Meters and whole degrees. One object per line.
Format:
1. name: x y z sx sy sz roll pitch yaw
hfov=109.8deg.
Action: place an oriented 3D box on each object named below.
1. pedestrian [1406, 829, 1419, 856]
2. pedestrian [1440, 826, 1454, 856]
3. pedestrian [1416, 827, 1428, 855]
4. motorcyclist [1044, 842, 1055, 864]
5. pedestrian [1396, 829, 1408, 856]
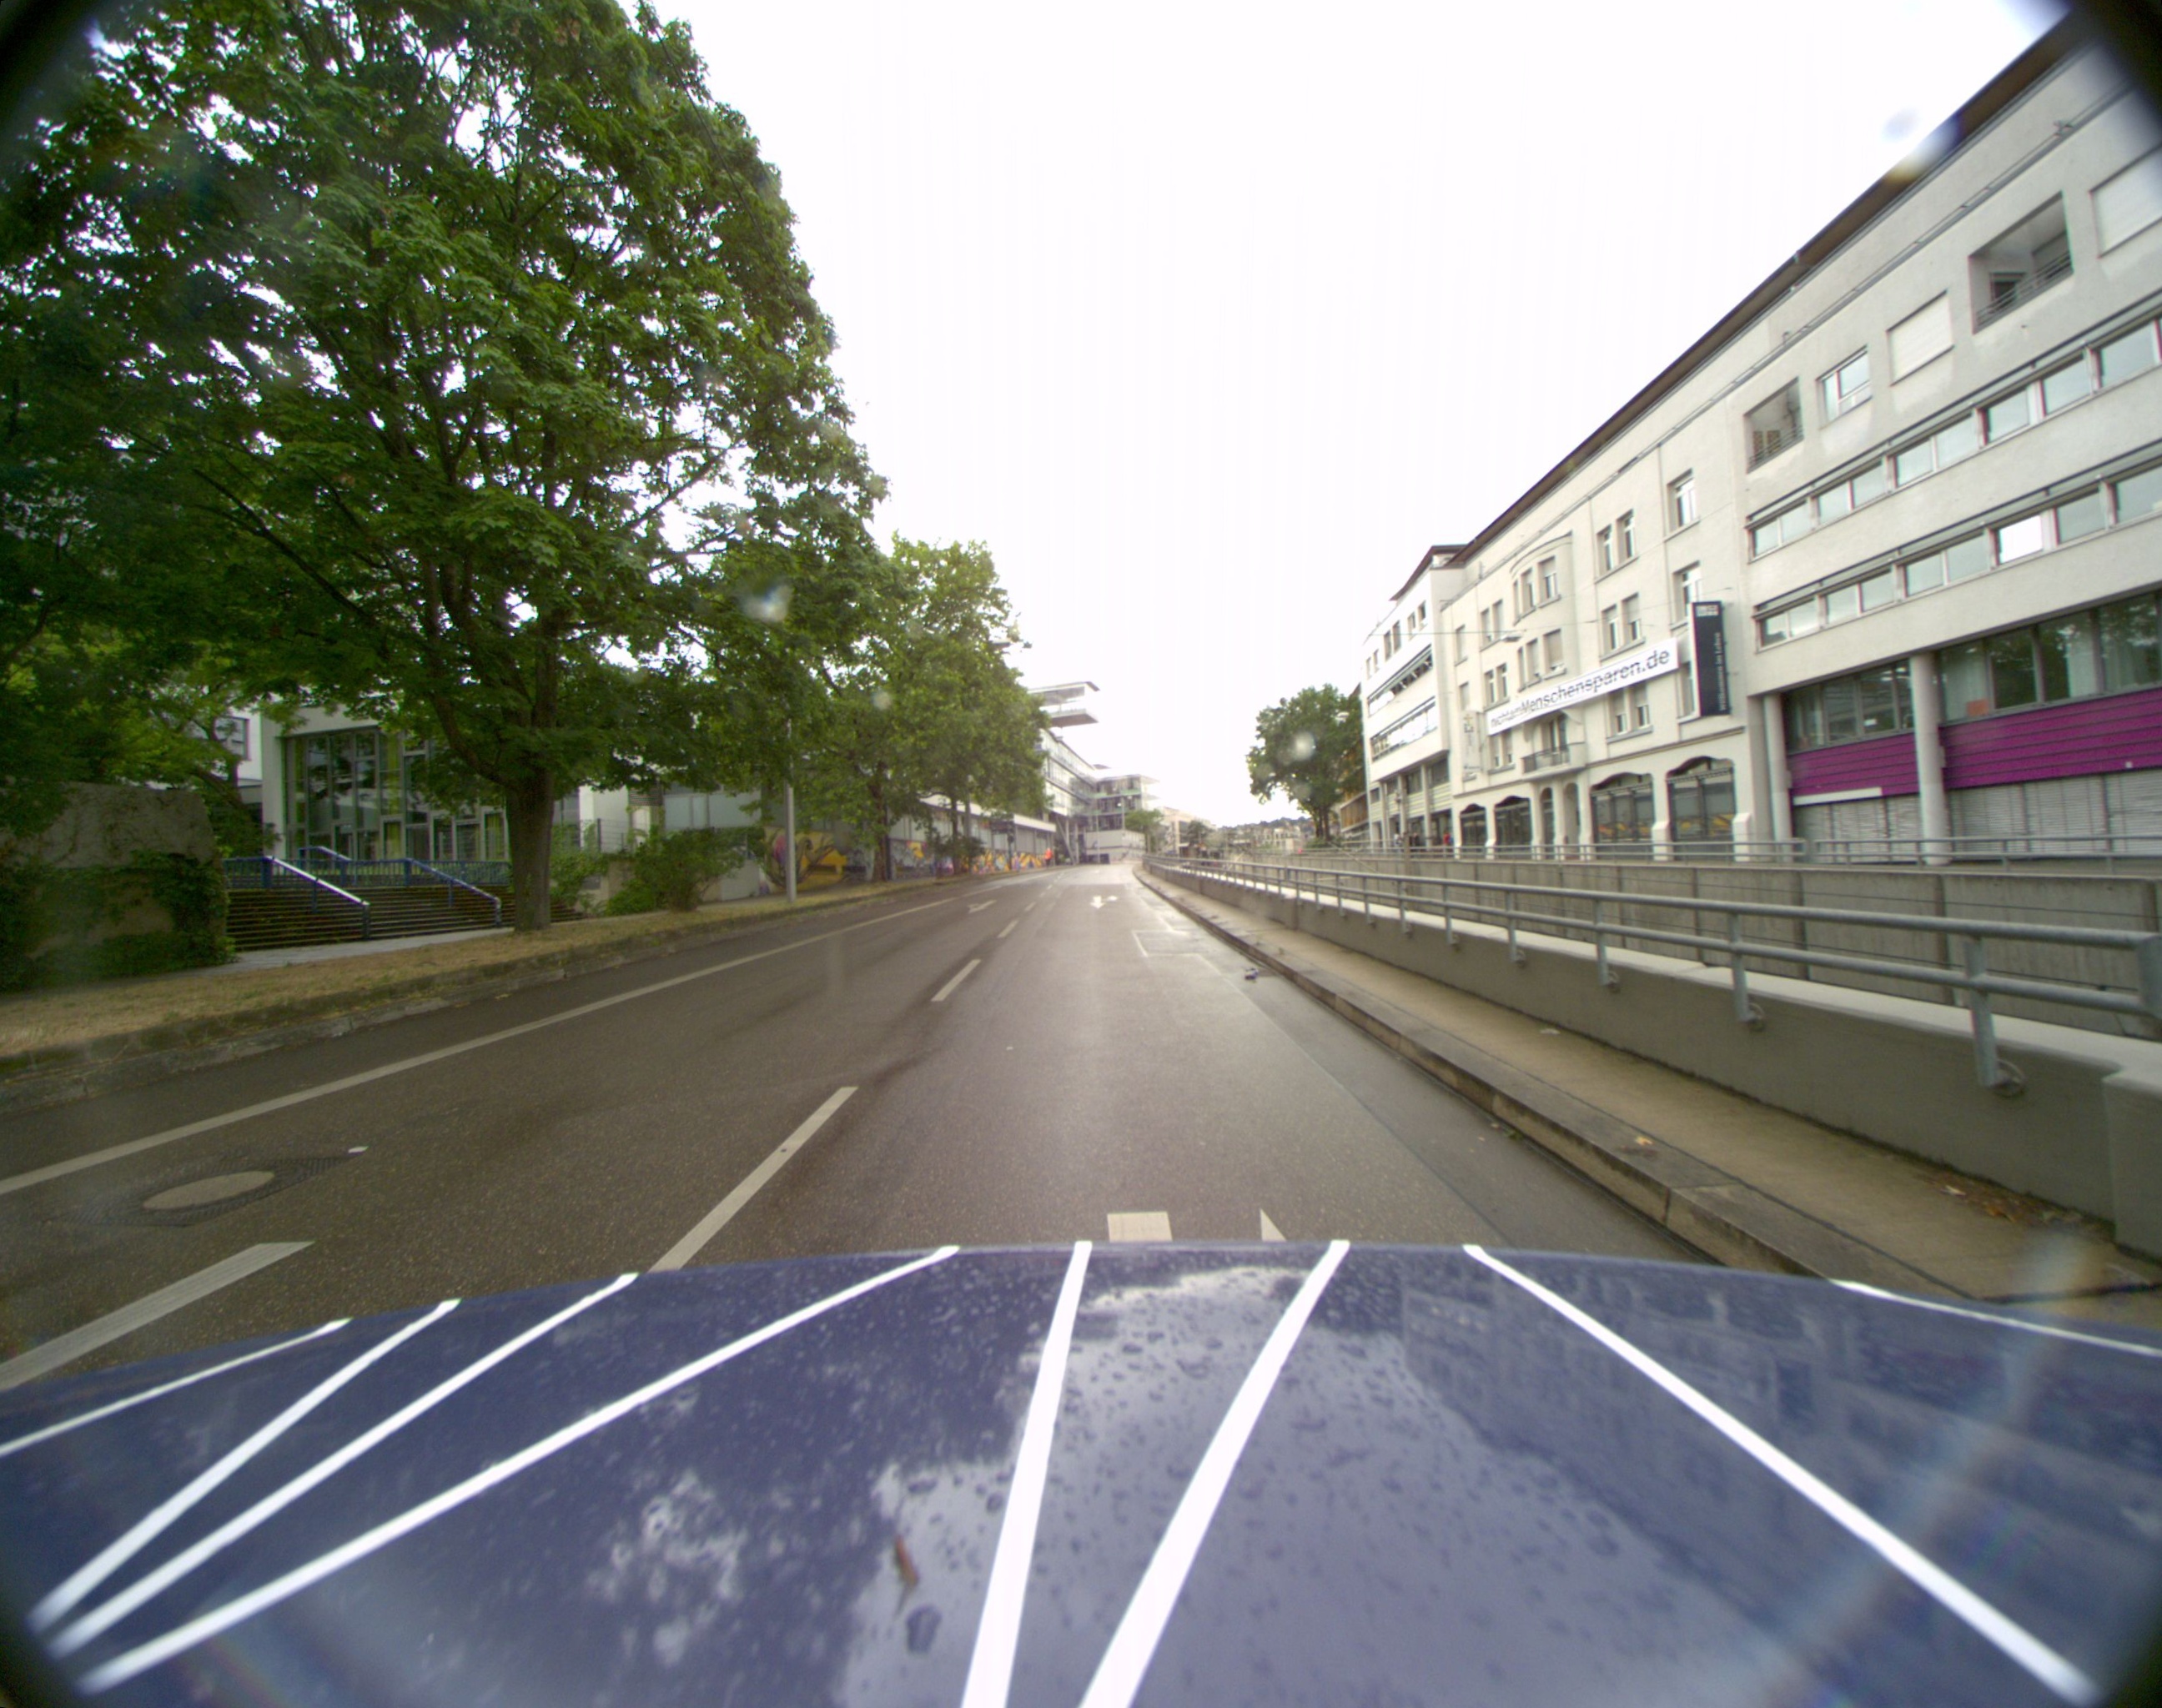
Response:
1. pedestrian: 22.481 -0.780 51.575 0.547 1.792 0.470 -4 1 -7
2. pedestrian: 22.825 -0.799 47.374 0.470 1.792 0.547 -4 1 0
3. pedestrian: 22.572 -0.855 50.313 0.470 1.792 0.547 -4 1 3
4. motorcyclist: -2.977 -0.062 71.195 0.754 2.002 1.002 -4 1 9
5. pedestrian: 21.709 -0.807 51.395 0.469 1.792 0.548 -4 1 8
